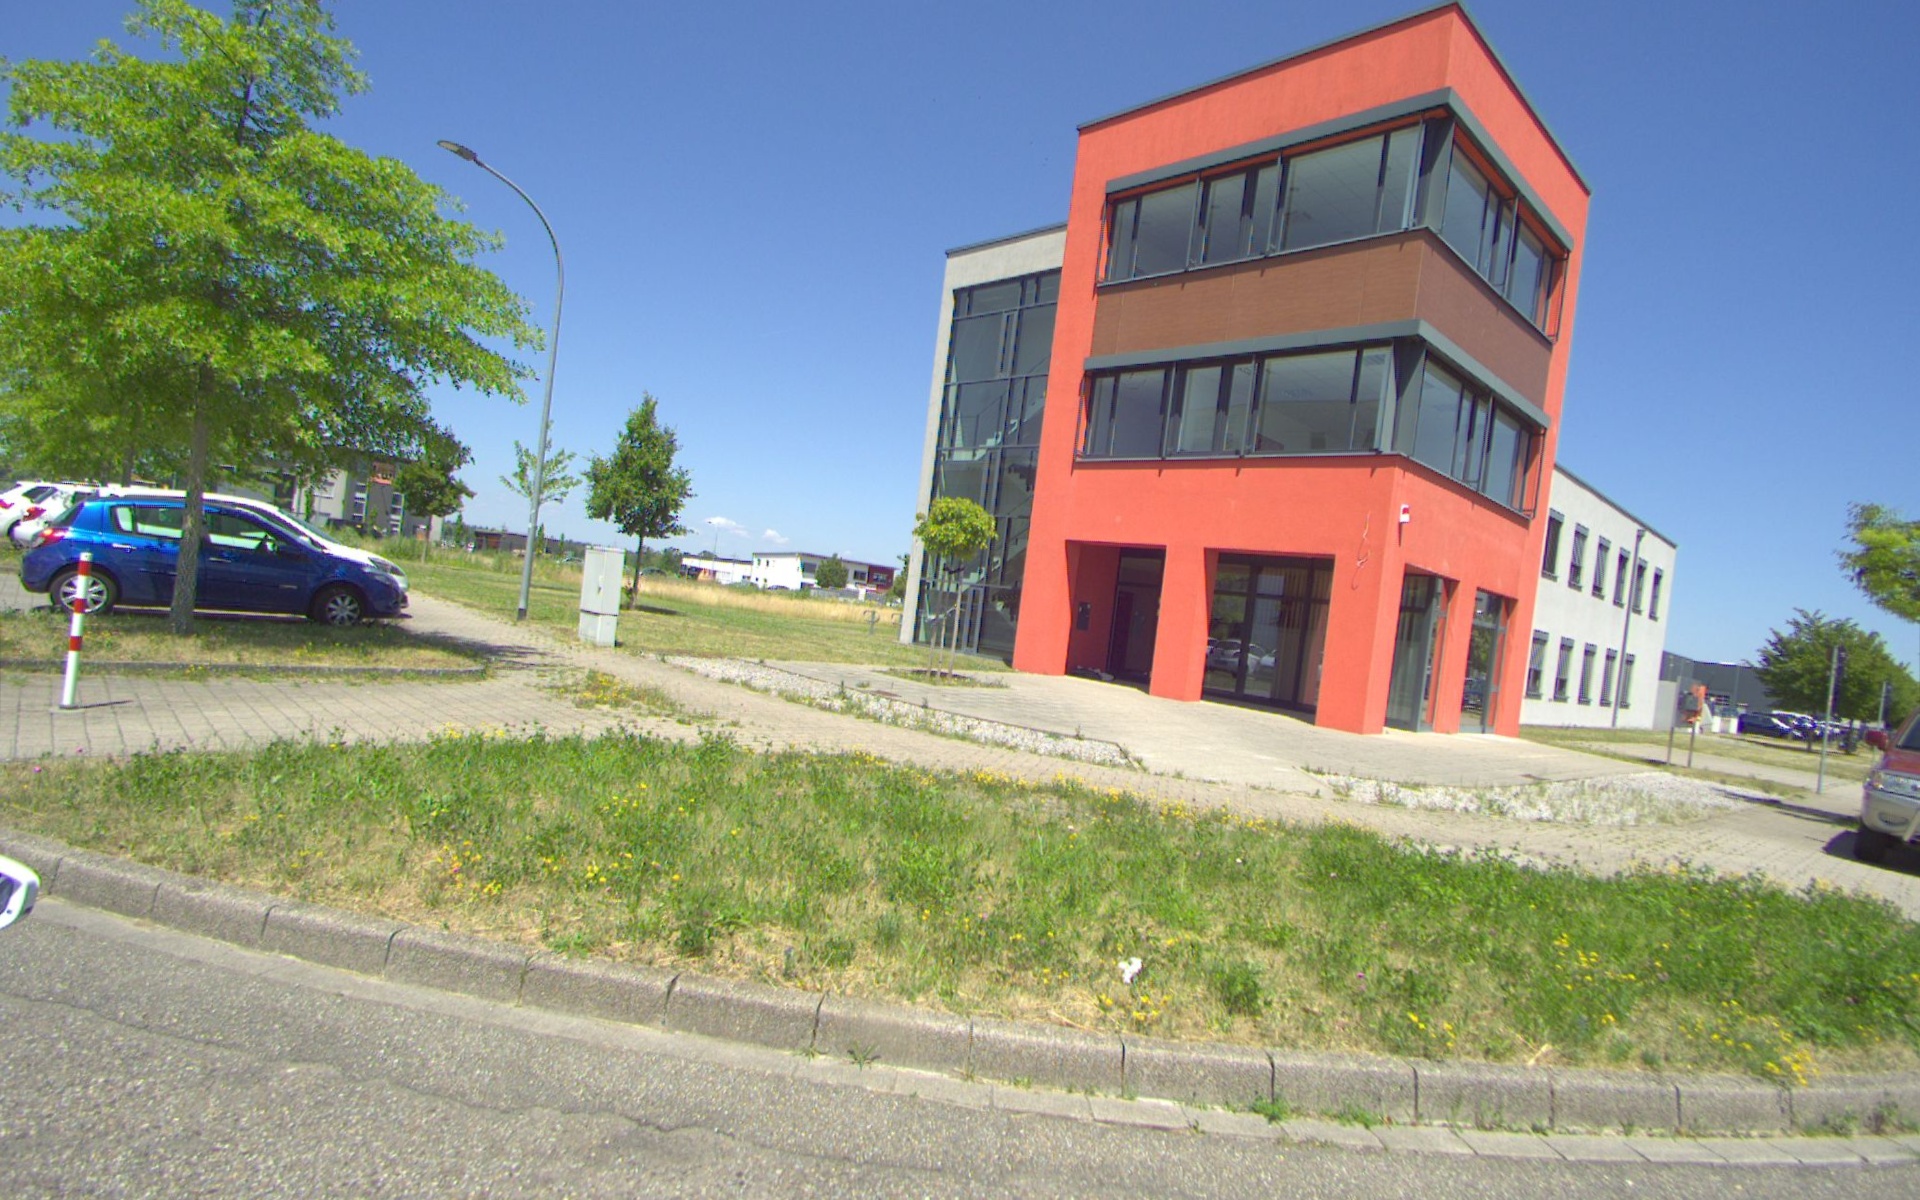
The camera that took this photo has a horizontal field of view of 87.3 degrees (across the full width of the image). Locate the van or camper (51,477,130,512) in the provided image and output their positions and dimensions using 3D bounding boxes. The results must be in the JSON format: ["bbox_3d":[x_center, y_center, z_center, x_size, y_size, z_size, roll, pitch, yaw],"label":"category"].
[{"bbox_3d":[-74.856,-9.064,86.668,4.922,2.190,1.975,8,0,-44],"label":"van or camper"}]

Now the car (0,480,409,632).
[{"bbox_3d":[-9.591,-0.513,13.076,3.974,1.510,1.708,5,2,-39],"label":"car"}]

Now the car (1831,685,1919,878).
[{"bbox_3d":[11.149,2.099,10.992,3.974,1.796,1.788,9,1,-42],"label":"car"}]

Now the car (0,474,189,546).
[{"bbox_3d":[-26.928,-2.765,31.018,1.888,1.581,4.704,7,1,43],"label":"car"}]

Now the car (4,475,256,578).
[{"bbox_3d":[-17.085,-1.477,20.839,3.822,1.543,1.758,7,0,-43],"label":"car"}]

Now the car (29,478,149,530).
[{"bbox_3d":[-38.420,-4.218,44.422,3.861,1.699,1.761,6,1,-43],"label":"car"}]

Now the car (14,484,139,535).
[{"bbox_3d":[-40.503,-4.135,46.160,4.159,1.718,1.760,6,1,-44],"label":"car"}]

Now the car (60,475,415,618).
[{"bbox_3d":[-10.734,-0.751,15.208,4.086,1.672,1.755,5,2,-38],"label":"car"}]

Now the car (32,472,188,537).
[{"bbox_3d":[-32.294,-3.590,38.322,4.385,1.853,1.774,6,1,-42],"label":"car"}]

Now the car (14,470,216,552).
[{"bbox_3d":[-22.892,-2.381,27.371,4.031,1.646,1.673,6,1,-43],"label":"car"}]

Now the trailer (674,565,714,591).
[{"bbox_3d":[-32.755,-2.659,123.866,3.976,2.632,2.204,7,0,-44],"label":"trailer"}]

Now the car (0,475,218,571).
[{"bbox_3d":[-18.972,-1.692,22.417,3.815,1.573,1.761,7,1,-38],"label":"car"}]

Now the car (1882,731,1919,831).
[{"bbox_3d":[16.397,3.060,16.424,1.763,1.460,3.688,11,2,43],"label":"car"}]

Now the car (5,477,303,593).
[{"bbox_3d":[-13.163,-1.027,16.570,1.589,1.482,3.608,7,2,42],"label":"car"}]

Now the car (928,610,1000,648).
[{"bbox_3d":[0.218,1.494,51.065,3.312,1.528,1.698,7,0,-43],"label":"car"}]
